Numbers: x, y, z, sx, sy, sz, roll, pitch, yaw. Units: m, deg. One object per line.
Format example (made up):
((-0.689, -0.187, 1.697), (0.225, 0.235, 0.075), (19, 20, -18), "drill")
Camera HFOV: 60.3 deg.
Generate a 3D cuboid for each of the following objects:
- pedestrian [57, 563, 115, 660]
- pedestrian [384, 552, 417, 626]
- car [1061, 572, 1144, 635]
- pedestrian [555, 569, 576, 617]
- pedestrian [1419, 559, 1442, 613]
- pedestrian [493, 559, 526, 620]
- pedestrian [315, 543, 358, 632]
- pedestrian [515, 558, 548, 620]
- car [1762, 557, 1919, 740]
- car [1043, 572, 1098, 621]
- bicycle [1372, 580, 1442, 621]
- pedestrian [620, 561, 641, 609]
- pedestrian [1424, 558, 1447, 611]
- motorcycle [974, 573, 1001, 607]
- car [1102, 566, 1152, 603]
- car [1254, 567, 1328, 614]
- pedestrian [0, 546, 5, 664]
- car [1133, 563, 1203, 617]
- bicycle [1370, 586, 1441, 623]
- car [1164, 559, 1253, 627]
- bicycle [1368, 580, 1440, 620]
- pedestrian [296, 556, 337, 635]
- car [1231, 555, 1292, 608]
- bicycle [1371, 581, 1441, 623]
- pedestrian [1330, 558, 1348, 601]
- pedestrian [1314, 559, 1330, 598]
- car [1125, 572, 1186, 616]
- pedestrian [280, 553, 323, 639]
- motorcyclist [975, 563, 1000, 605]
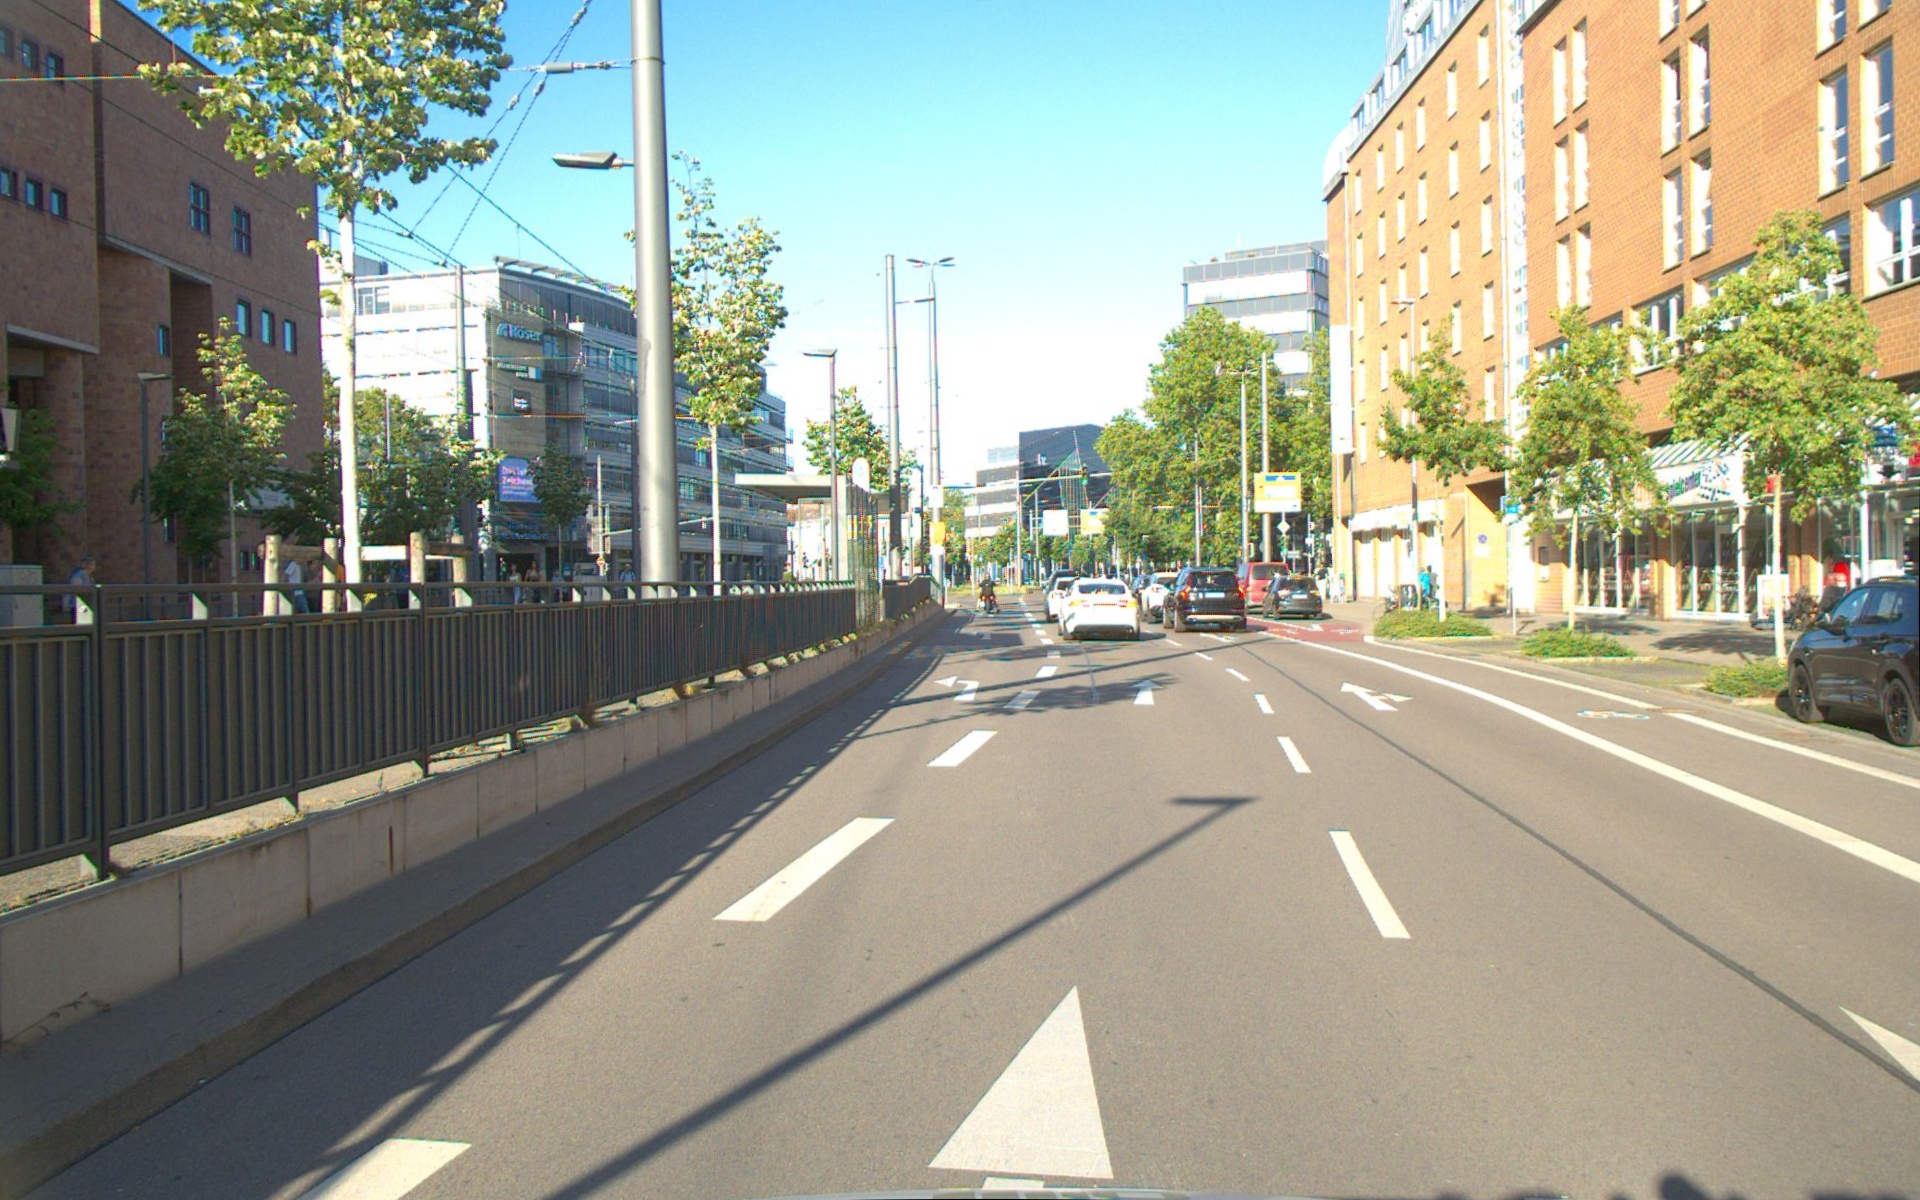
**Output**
((-13.596, 0.177, 25.736), (0.528, 1.485, 0.642), (1, 1, 2), "pedestrian")
((-13.493, -0.271, 39.880), (0.569, 1.768, 0.616), (0, 1, 2), "pedestrian")
((3.446, 0.038, 40.718), (1.744, 1.439, 4.820), (1, 1, 1), "car")
((-13.493, -0.237, 56.572), (0.551, 1.637, 0.616), (0, 1, 2), "pedestrian")
((16.527, -0.496, 58.123), (0.594, 1.853, 0.748), (-1, 0, 1), "pedestrian")
((-12.266, -0.293, 45.051), (0.627, 1.636, 0.946), (1, 1, 2), "pedestrian")
((-12.259, -0.256, 32.524), (0.627, 1.725, 0.541), (1, 1, 2), "pedestrian")
((-11.642, -0.310, 44.966), (0.627, 1.672, 0.946), (1, 1, 2), "pedestrian")
((9.918, 0.397, 17.051), (1.684, 1.665, 4.235), (-2, 1, 8), "car")
((3.650, -0.148, 54.983), (1.657, 1.523, 4.410), (1, 1, 2), "car")
((12.887, 0.020, 47.711), (1.903, 1.094, 0.555), (-2, 0, 12), "bicycle")
((-12.810, -0.590, 64.281), (0.601, 1.849, 0.897), (0, 1, 2), "pedestrian")
((17.008, -0.549, 59.177), (0.594, 1.853, 0.748), (-1, 0, 1), "pedestrian")
((1.107, -0.405, 66.409), (0.998, 1.335, 2.915), (1, 1, 2), "motorcycle")
((7.116, -0.671, 70.949), (1.812, 1.524, 4.380), (0, 1, 1), "car")
((11.637, -0.360, 58.344), (1.808, 1.588, 4.634), (1, 1, 2), "car")
((-13.599, 0.066, 22.932), (0.370, 1.649, 0.553), (1, 1, 2), "pedestrian")
((6.708, -0.346, 53.788), (1.812, 1.668, 4.380), (-1, 1, 1), "car")
((12.656, 0.121, 47.008), (1.904, 0.986, 0.554), (-2, 0, 19), "bicycle")
((6.887, -0.220, 46.229), (1.934, 1.790, 4.634), (1, 1, 2), "car")
((12.480, 0.005, 46.497), (1.904, 1.040, 0.502), (-2, 0, 19), "bicycle")
((-13.535, -0.097, 34.803), (0.610, 1.640, 0.616), (0, 1, 2), "pedestrian")
((11.804, -0.741, 64.881), (1.821, 1.995, 4.002), (-1, 1, 3), "car")
((13.006, 0.054, 48.229), (1.903, 1.157, 0.491), (-2, 0, 12), "bicycle")
((16.701, -0.908, 72.876), (0.594, 1.853, 0.748), (-1, 0, 1), "pedestrian")
((17.417, -1.017, 79.661), (0.594, 1.853, 0.748), (-1, 0, 1), "pedestrian")
((7.108, -0.235, 60.500), (1.812, 1.524, 4.380), (0, 1, 1), "car")
((-13.527, -0.094, 33.969), (0.610, 1.744, 0.616), (0, 1, 2), "pedestrian")
((1.107, -0.642, 66.476), (0.998, 1.631, 1.149), (1, 1, 2), "motorcyclist")
